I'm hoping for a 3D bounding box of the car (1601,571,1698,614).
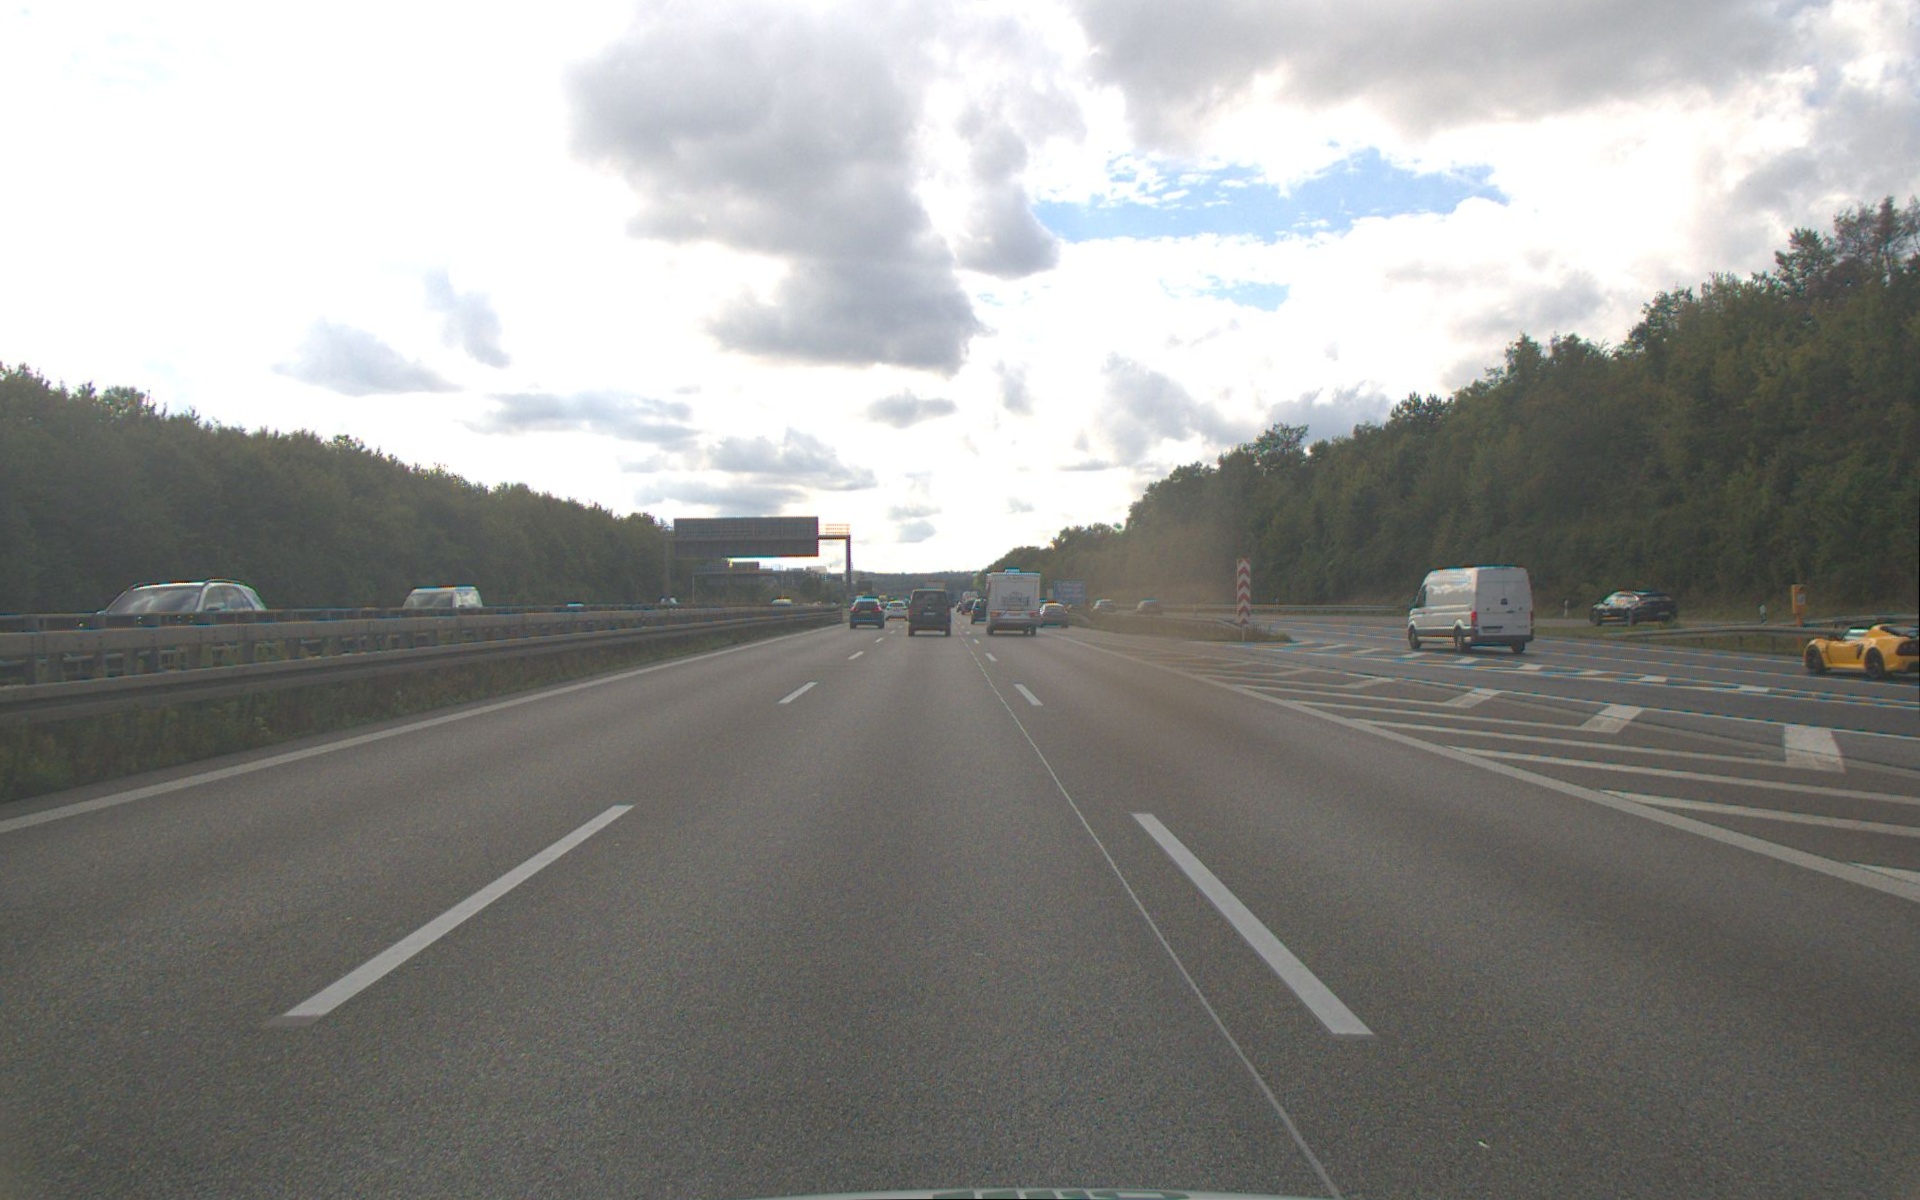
[{"bbox_3d":[28.261,-0.287,67.960,1.806,1.630,4.762,-2,0,-2],"label":"car"}]

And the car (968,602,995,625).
[{"bbox_3d":[1.455,0.919,113.301,1.663,1.592,4.112,0,0,-2],"label":"car"}]

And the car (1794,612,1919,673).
[{"bbox_3d":[19.849,0.873,35.551,1.677,1.202,4.167,0,0,-2],"label":"car"}]

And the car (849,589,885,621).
[{"bbox_3d":[-5.083,0.288,91.142,1.835,1.728,4.071,0,0,-1],"label":"car"}]

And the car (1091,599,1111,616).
[{"bbox_3d":[13.854,0.731,162.427,1.509,1.510,3.941,-2,0,-1],"label":"car"}]

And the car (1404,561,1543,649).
[{"bbox_3d":[16.132,0.137,52.363,2.028,2.599,6.739,-1,0,-2],"label":"car"}]

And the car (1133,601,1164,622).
[{"bbox_3d":[14.701,0.891,129.301,1.806,1.510,4.524,-2,0,-1],"label":"car"}]

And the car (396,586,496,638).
[{"bbox_3d":[-17.342,0.387,56.062,1.773,1.665,5.008,0,0,0],"label":"car"}]

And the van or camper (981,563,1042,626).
[{"bbox_3d":[2.315,-0.239,76.957,2.419,2.769,7.659,1,0,-1],"label":"van or camper"}]

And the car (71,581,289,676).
[{"bbox_3d":[-13.181,0.457,28.231,1.699,1.506,4.201,0,0,0],"label":"car"}]

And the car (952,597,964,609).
[{"bbox_3d":[-0.321,0.408,244.819,1.716,1.725,4.189,0,0,-1],"label":"car"}]

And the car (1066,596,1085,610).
[{"bbox_3d":[13.857,0.360,198.428,1.806,1.510,4.523,-2,0,-2],"label":"car"}]

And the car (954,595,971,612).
[{"bbox_3d":[0.295,0.439,191.422,1.874,1.952,4.029,0,0,-1],"label":"car"}]

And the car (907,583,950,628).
[{"bbox_3d":[-1.383,0.236,72.356,1.817,1.944,4.258,0,0,-1],"label":"car"}]

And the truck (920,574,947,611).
[{"bbox_3d":[-3.270,-0.944,205.668,3.196,4.451,11.024,1,0,-1],"label":"truck"}]

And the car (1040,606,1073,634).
[{"bbox_3d":[5.847,1.215,100.424,1.663,1.639,3.894,0,0,-2],"label":"car"}]

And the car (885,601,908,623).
[{"bbox_3d":[-4.782,0.882,125.294,1.663,1.639,4.112,0,0,-2],"label":"car"}]
